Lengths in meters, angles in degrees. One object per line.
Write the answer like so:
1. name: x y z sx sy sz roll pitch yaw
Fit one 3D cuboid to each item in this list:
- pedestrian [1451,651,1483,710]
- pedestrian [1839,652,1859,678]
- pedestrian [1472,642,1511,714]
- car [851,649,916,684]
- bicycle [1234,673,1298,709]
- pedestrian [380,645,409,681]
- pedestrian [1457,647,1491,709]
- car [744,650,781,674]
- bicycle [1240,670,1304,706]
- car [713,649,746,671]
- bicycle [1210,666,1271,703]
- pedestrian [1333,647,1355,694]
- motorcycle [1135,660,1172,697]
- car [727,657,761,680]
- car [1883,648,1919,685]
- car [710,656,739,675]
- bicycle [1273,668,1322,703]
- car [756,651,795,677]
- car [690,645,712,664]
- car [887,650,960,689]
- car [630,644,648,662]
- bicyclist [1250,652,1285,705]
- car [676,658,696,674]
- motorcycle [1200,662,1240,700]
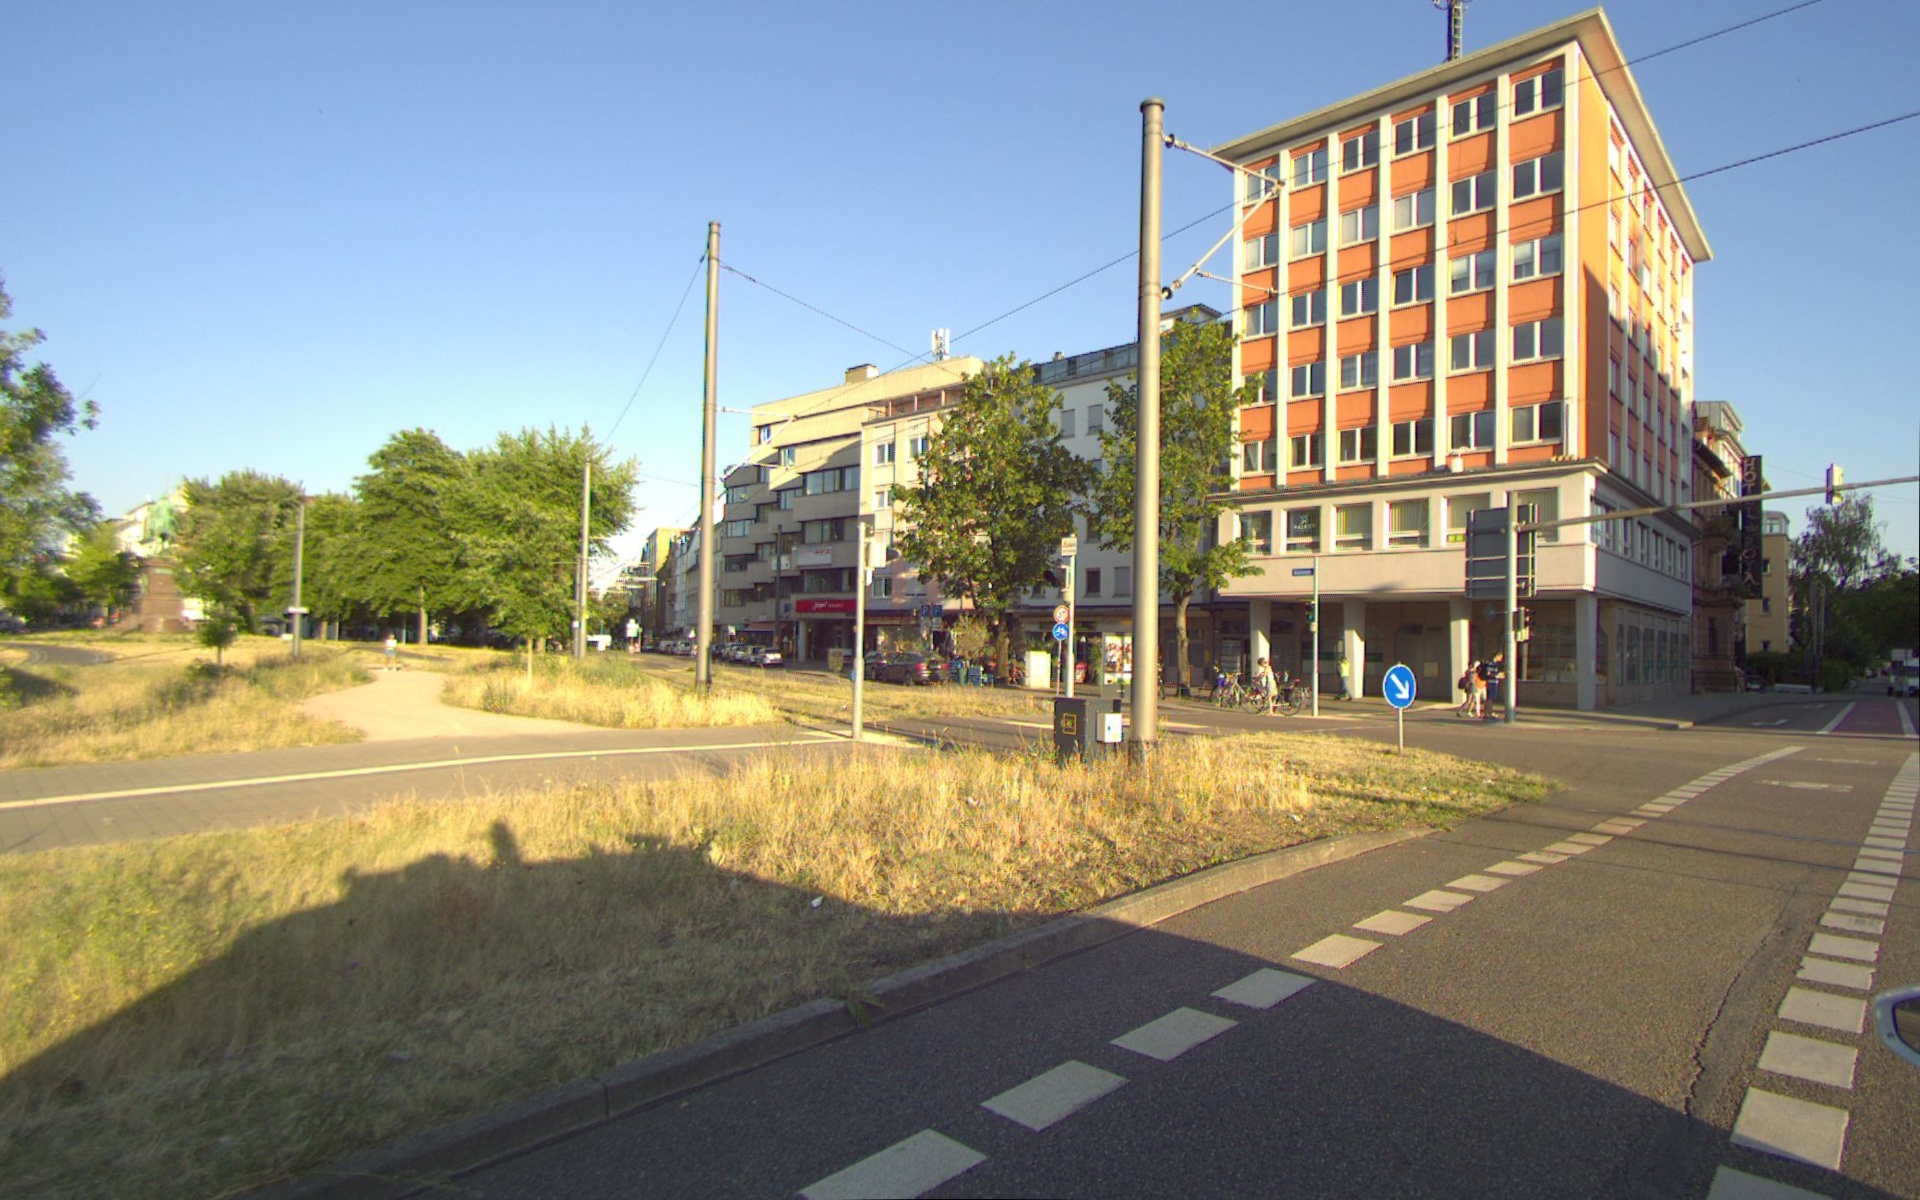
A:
1. pedestrian: 15.112 2.391 29.936 0.719 1.706 0.582 -2 -3 42
2. pedestrian: 71.242 5.207 80.525 1.008 2.040 0.943 -1 -3 31
3. pedestrian: 14.884 2.172 28.131 0.709 1.972 0.718 0 -3 4
4. car: -3.969 3.366 51.528 1.974 1.723 3.974 2 -3 -26
5. bicycle: 8.593 2.533 28.213 1.638 0.956 0.509 -1 -3 28
6. pedestrian: -24.040 2.669 42.694 0.900 1.515 0.695 -1 -3 30
7. pedestrian: 15.582 2.346 30.454 0.704 1.842 0.747 -2 -4 44
8. car: -15.690 4.882 79.557 1.973 1.885 3.976 2 -3 -25
9. bicycle: 10.075 2.839 32.513 1.968 1.089 0.466 -2 -4 43
10. car: -20.633 5.360 89.944 1.974 1.925 3.974 2 -3 -27
11. bicycle: 8.835 2.654 31.685 1.881 1.089 0.466 -2 -4 43
12. pedestrian: 14.970 2.731 39.194 0.631 1.815 0.582 -2 -3 42
13. motorcycle: 7.058 2.862 36.735 0.379 1.335 1.372 3 -4 -44
14. car: -18.261 5.753 84.753 1.973 1.863 3.976 2 -3 -25
15. car: 62.205 4.334 66.150 1.973 2.354 4.195 -2 -4 44
16. car: -22.884 6.353 97.649 1.973 1.732 3.976 2 -3 -25
17. bicycle: 11.188 2.822 33.332 1.539 1.089 0.393 -2 -4 43
18. car: -13.747 4.744 74.683 1.900 1.888 3.977 2 -3 -24
19. car: -28.406 5.990 109.899 1.969 2.006 3.984 2 -3 -19
20. car: -1.754 3.204 46.883 1.973 1.706 3.975 2 -3 -26
21. car: -38.858 6.356 121.563 1.967 2.040 3.987 0 -1 -16
22. bicyclist: 8.633 2.189 28.207 0.842 1.445 0.500 -1 -3 28
23. car: -33.680 8.075 123.479 1.970 1.902 3.886 2 -3 -21
24. motorcycle: 9.429 2.911 36.387 0.538 1.335 1.824 -2 -4 45
